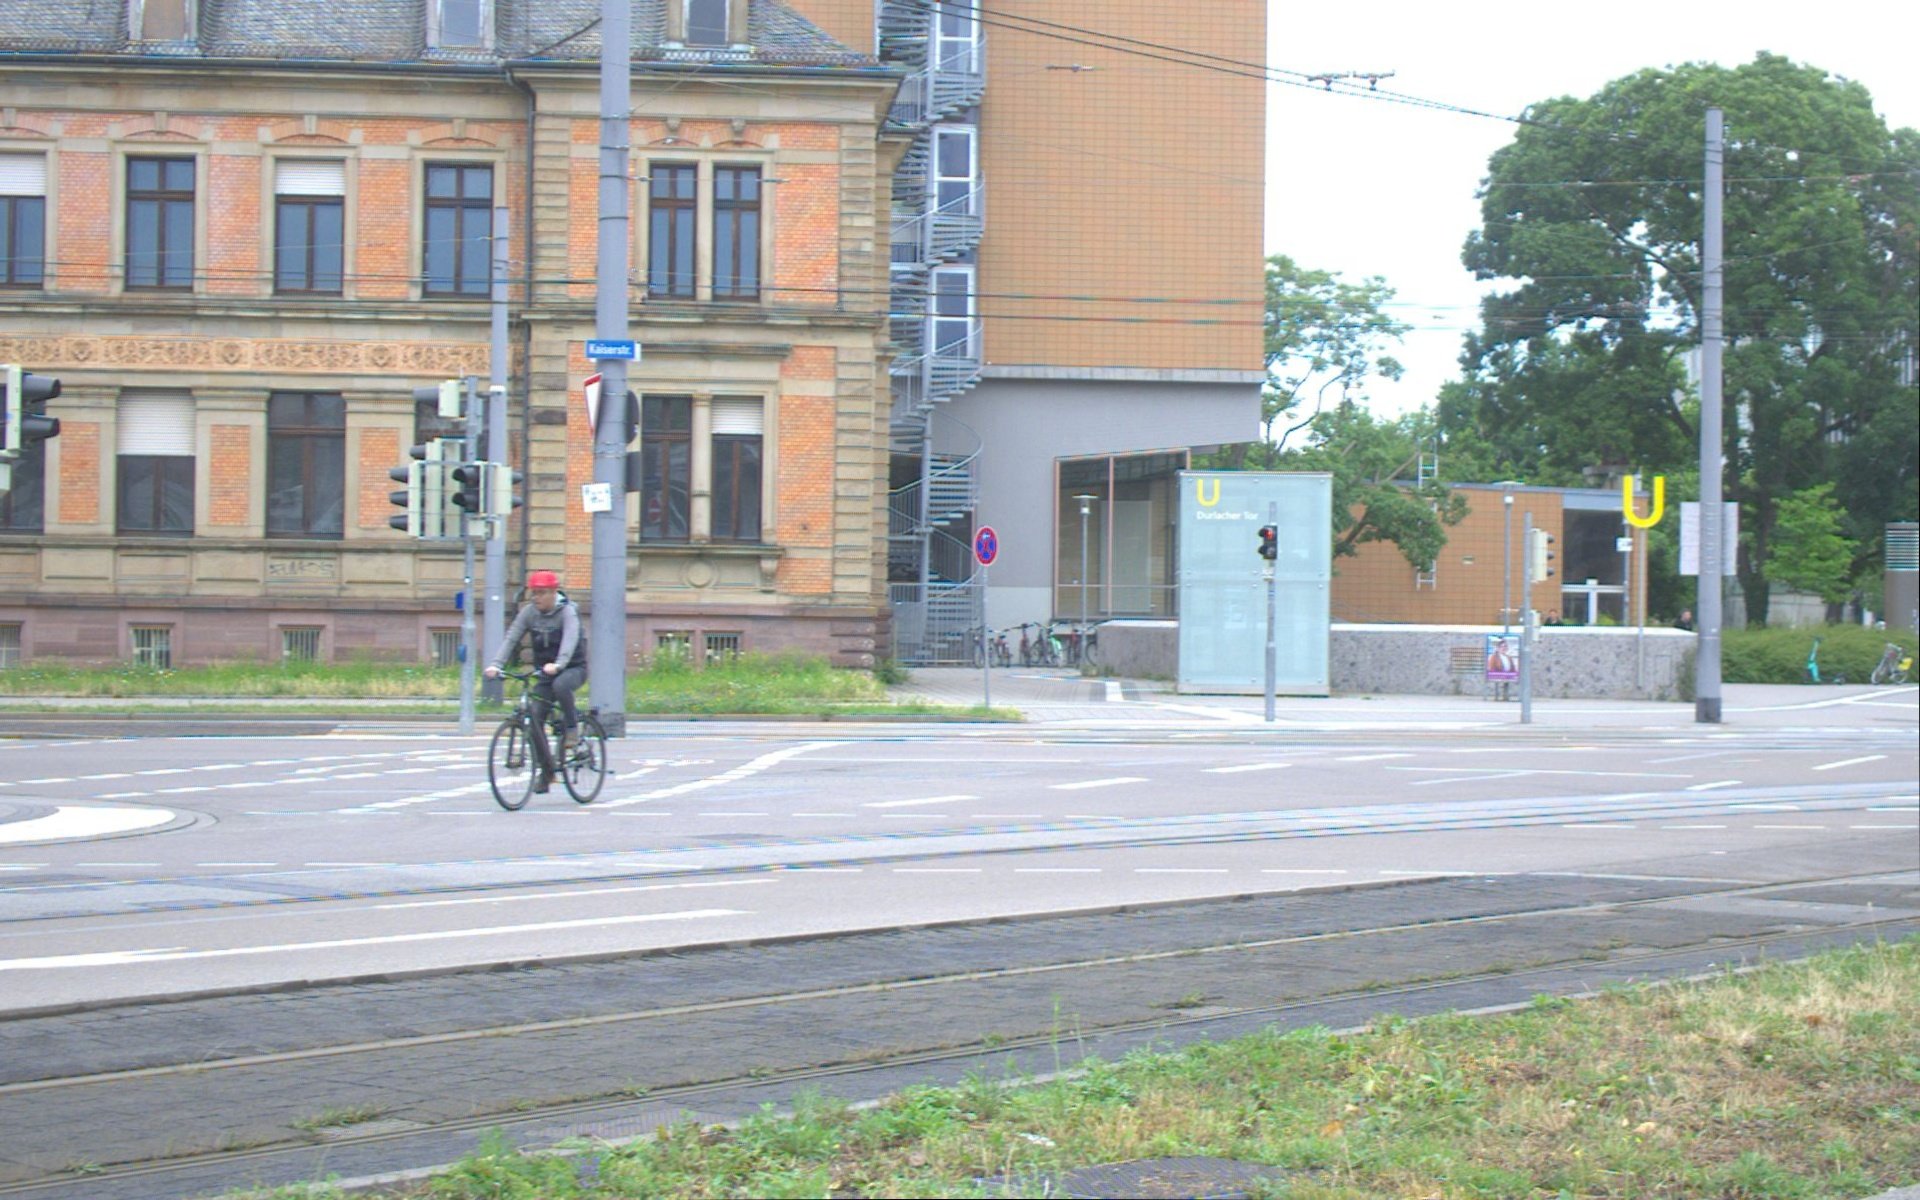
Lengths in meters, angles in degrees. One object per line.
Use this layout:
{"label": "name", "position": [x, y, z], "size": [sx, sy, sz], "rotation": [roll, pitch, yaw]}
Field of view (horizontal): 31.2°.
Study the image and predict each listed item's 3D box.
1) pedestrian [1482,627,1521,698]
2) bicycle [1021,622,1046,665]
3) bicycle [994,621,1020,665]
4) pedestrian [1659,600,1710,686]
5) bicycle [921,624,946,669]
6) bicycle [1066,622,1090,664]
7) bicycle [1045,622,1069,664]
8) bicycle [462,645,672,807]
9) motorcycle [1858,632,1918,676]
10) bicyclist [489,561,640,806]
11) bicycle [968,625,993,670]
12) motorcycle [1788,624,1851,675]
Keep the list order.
{"label": "pedestrian", "position": [10.218, 1.176, 64.874], "size": [0.572, 1.331, 0.499], "rotation": [1, 0, -10]}
{"label": "bicycle", "position": [1.854, 1.096, 86.835], "size": [0.508, 1.045, 1.428], "rotation": [1, 0, -2]}
{"label": "bicycle", "position": [1.189, 1.082, 86.809], "size": [0.570, 1.102, 1.428], "rotation": [1, 0, -2]}
{"label": "pedestrian", "position": [16.990, 1.004, 80.593], "size": [1.022, 2.007, 0.845], "rotation": [1, 0, 21]}
{"label": "bicycle", "position": [-0.681, 1.170, 86.686], "size": [0.570, 1.102, 1.428], "rotation": [1, 0, -2]}
{"label": "bicycle", "position": [2.976, 1.081, 86.933], "size": [0.480, 1.045, 1.428], "rotation": [1, 0, -2]}
{"label": "bicycle", "position": [2.446, 1.086, 86.914], "size": [0.480, 1.045, 1.428], "rotation": [1, 0, -2]}
{"label": "bicycle", "position": [-3.079, 0.965, 27.163], "size": [0.824, 1.204, 2.232], "rotation": [0, 0, 17]}
{"label": "motorcycle", "position": [23.856, 1.396, 88.377], "size": [1.739, 1.107, 0.512], "rotation": [1, 0, -37]}
{"label": "bicyclist", "position": [-3.108, 0.646, 27.059], "size": [0.829, 1.885, 1.048], "rotation": [0, -1, 17]}
{"label": "bicycle", "position": [0.515, 1.199, 86.747], "size": [0.570, 1.102, 1.428], "rotation": [1, 0, -2]}
{"label": "motorcycle", "position": [21.886, 1.257, 87.539], "size": [1.467, 1.263, 0.512], "rotation": [1, 0, -5]}
